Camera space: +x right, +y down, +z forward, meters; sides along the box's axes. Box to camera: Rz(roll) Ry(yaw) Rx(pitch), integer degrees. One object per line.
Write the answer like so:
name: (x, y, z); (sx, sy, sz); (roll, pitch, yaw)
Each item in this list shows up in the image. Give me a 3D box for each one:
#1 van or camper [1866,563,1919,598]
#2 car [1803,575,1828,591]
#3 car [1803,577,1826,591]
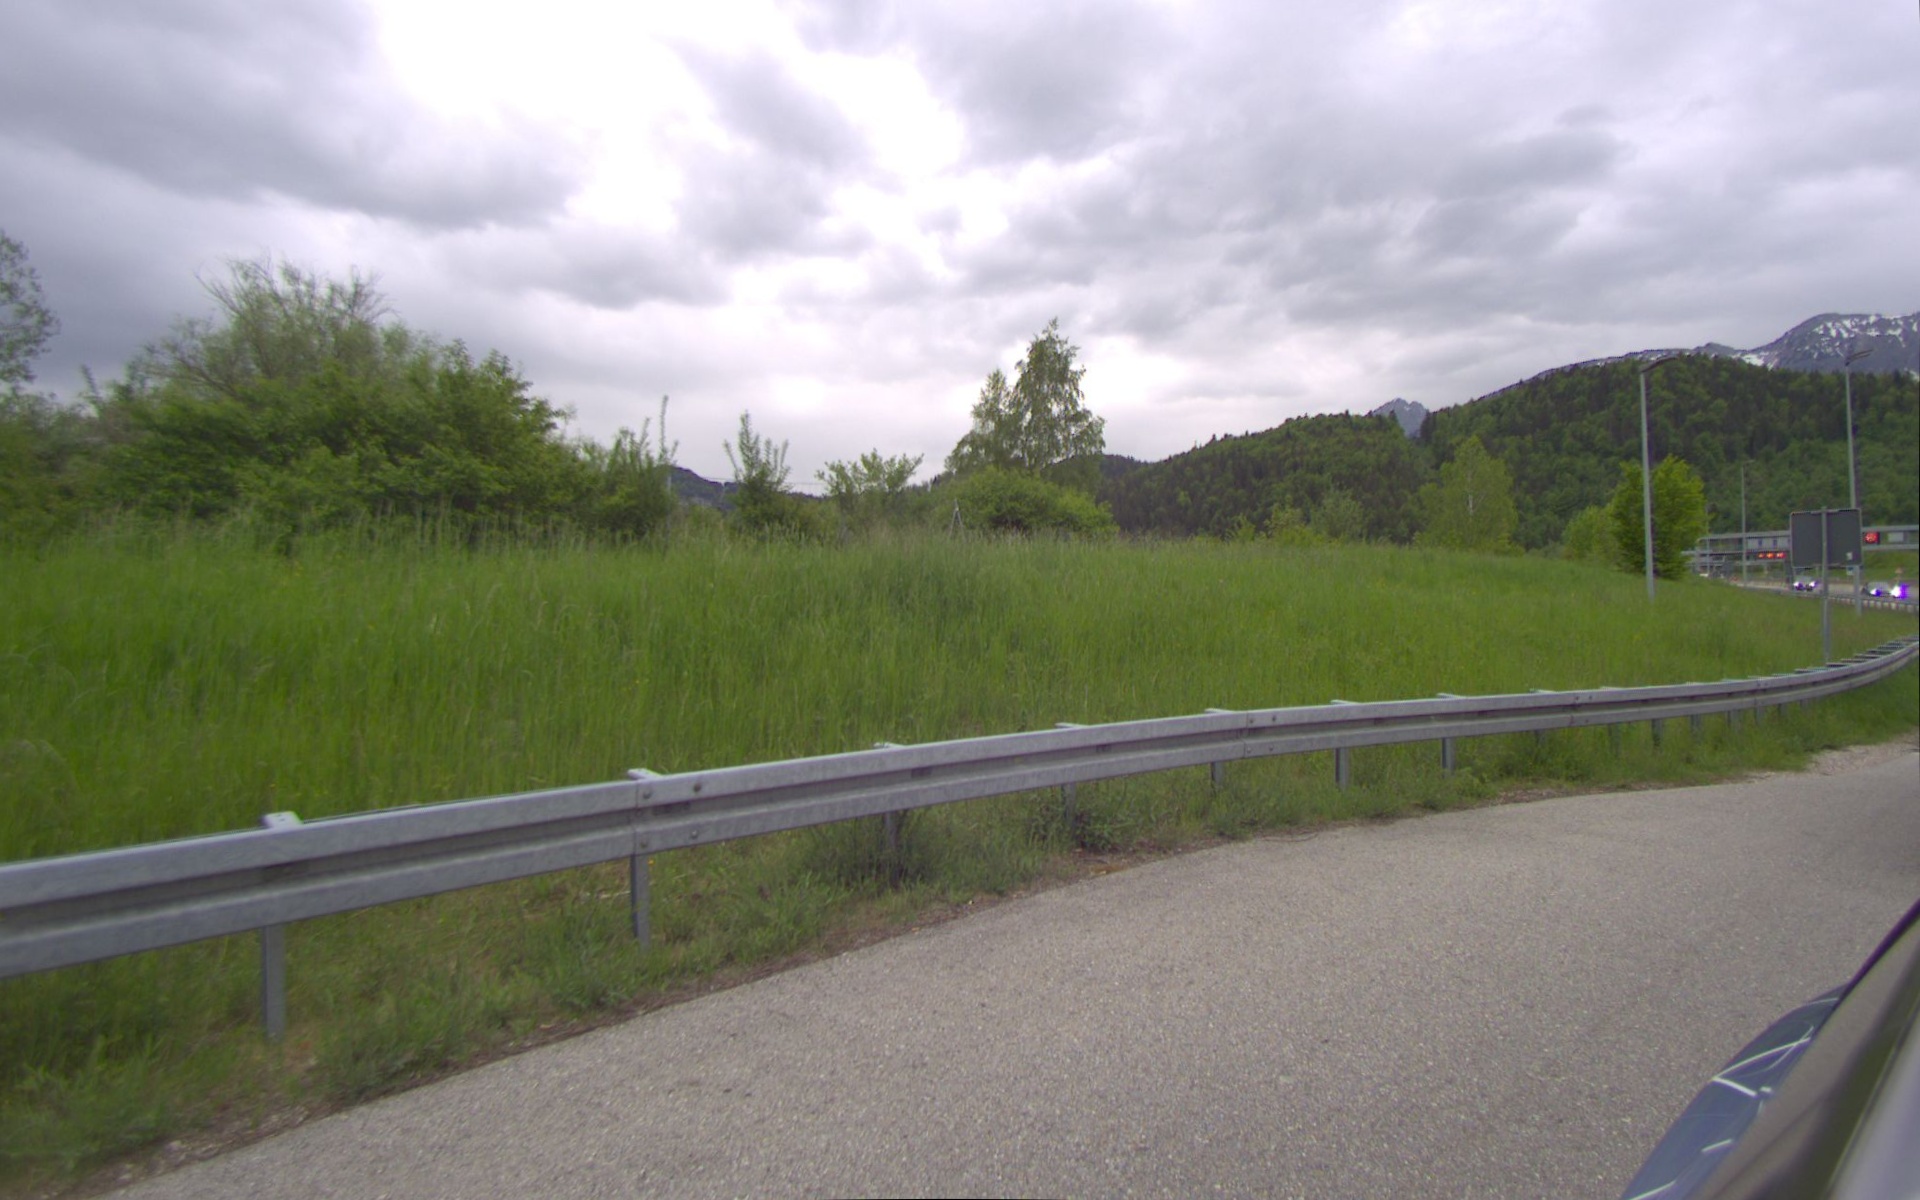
van or camper: (76.642, -1.602, 82.219); (3.321, 2.677, 8.102); (1, 1, 34)
car: (102.264, -2.018, 120.960); (1.855, 1.895, 3.952); (1, 1, 34)
car: (102.377, -1.896, 121.276); (1.710, 1.659, 4.295); (1, 2, 34)
